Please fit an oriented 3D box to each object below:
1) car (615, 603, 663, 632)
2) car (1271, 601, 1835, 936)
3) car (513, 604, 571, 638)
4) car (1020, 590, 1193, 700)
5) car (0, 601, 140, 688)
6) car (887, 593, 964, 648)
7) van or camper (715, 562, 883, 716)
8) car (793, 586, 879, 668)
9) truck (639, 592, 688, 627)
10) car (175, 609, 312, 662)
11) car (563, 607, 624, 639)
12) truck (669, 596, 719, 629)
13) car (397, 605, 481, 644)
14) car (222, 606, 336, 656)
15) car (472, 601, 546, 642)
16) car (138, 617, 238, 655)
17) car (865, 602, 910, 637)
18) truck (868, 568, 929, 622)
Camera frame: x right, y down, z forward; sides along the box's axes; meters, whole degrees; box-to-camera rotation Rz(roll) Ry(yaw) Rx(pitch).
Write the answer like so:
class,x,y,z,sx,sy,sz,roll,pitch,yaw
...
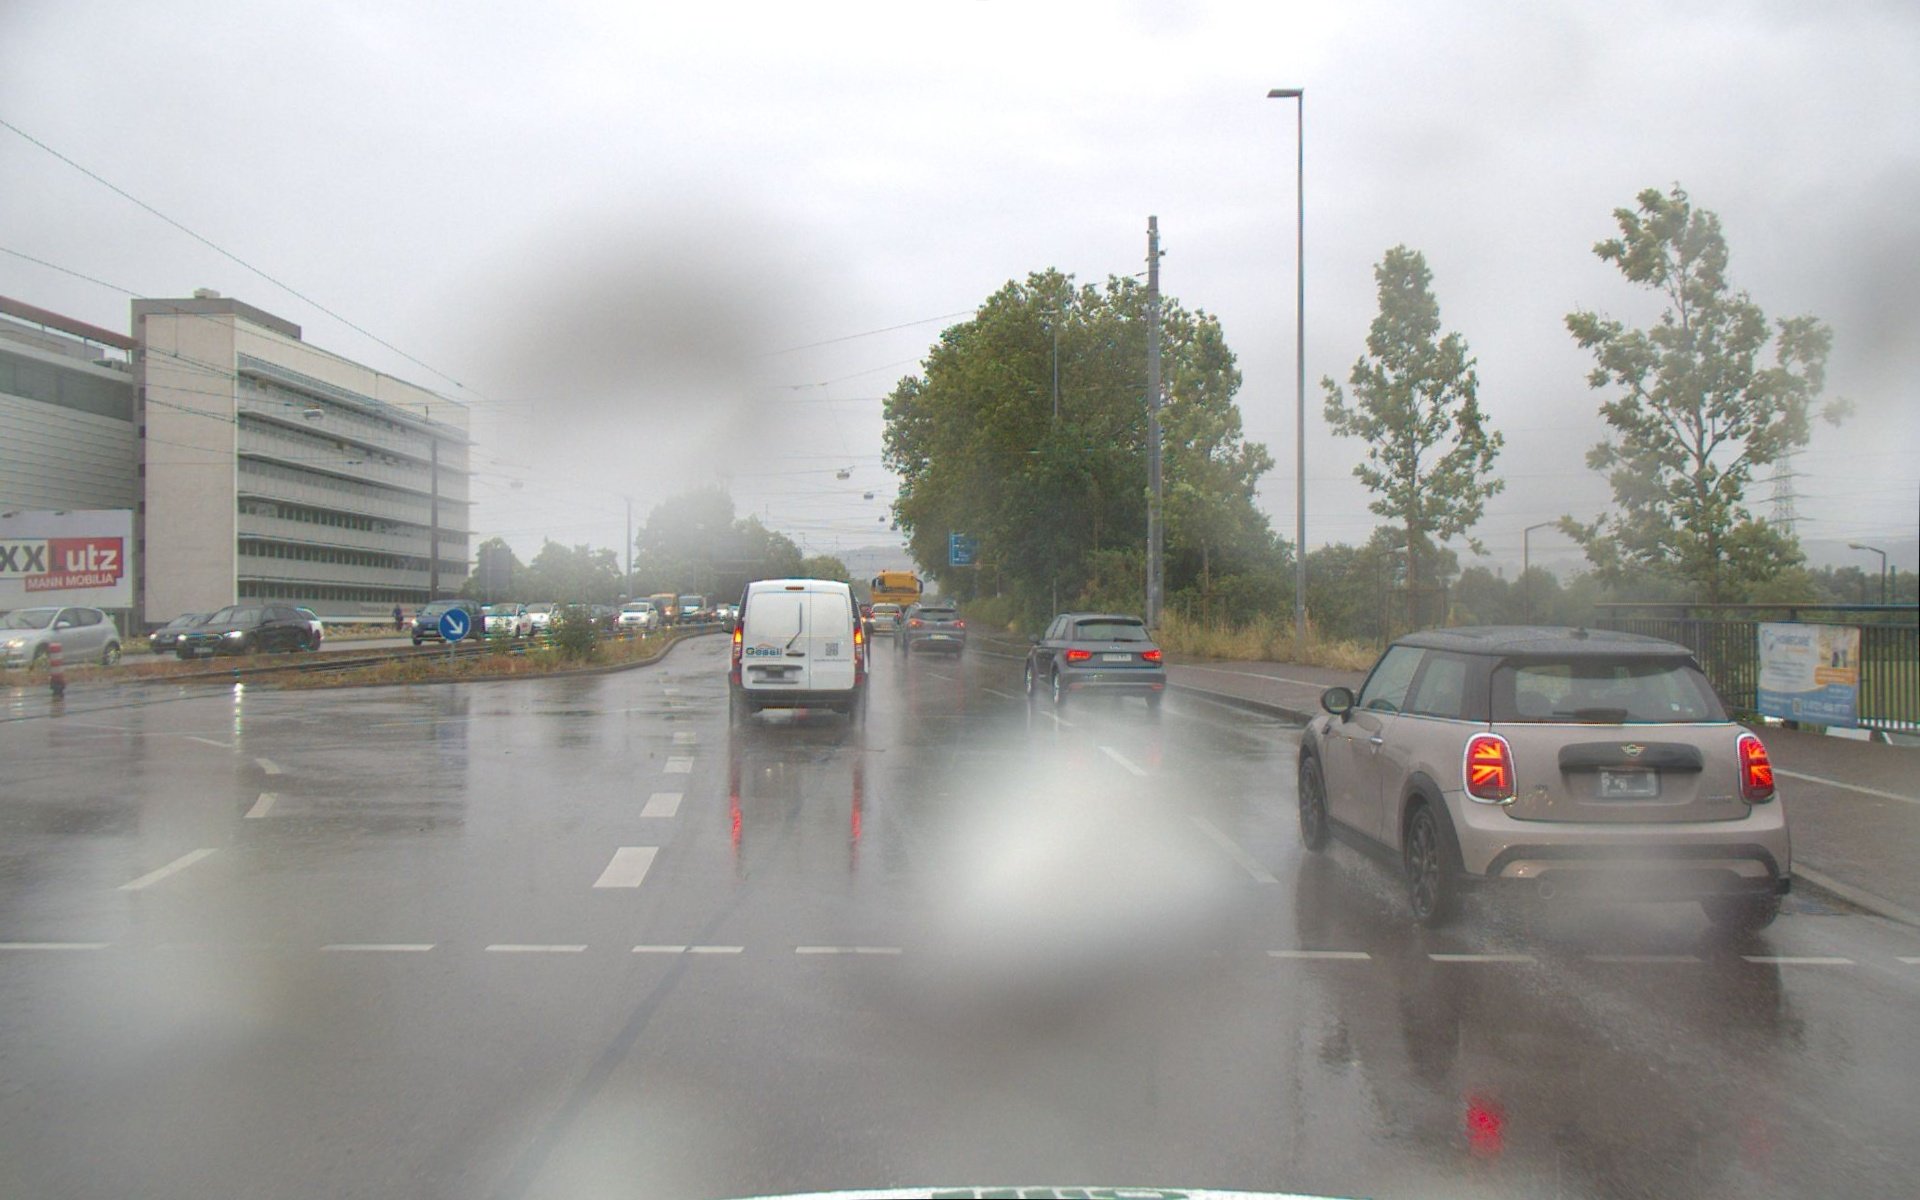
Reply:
class,x,y,z,sx,sy,sz,roll,pitch,yaw
car,-18.920,1.010,97.657,1.834,1.601,4.329,1,1,1
car,3.008,0.755,9.298,1.754,1.438,3.854,1,0,0
car,-22.330,1.095,88.442,1.869,1.634,4.841,2,0,-1
car,2.193,0.639,25.862,1.930,1.555,3.985,1,0,-6
car,-20.475,0.941,37.127,1.676,1.737,4.431,1,1,4
car,-1.006,0.536,45.986,1.783,1.438,3.773,1,0,-7
van or camper,-2.021,0.436,21.814,1.954,1.816,3.998,1,1,-3
car,-2.892,0.568,38.319,1.862,1.747,4.721,1,0,-5
truck,-22.250,0.691,124.270,2.180,2.505,6.069,2,0,3
car,-19.415,0.929,44.976,1.676,1.271,4.050,1,1,5
car,-18.920,1.181,85.613,1.883,1.448,5.084,1,1,1
truck,-21.582,1.005,134.581,2.384,2.501,7.221,2,0,3
car,-19.465,0.896,61.972,1.677,1.271,4.462,1,1,1
car,-22.861,1.012,55.701,1.774,1.461,4.714,1,1,1
car,-18.925,0.879,69.606,1.676,1.562,4.050,1,1,5
car,-29.497,1.363,63.313,1.676,1.271,4.050,1,1,5
car,-3.199,0.857,73.551,1.781,1.438,3.779,1,0,1
truck,-3.256,-0.265,88.952,3.049,2.822,6.328,0,0,0
